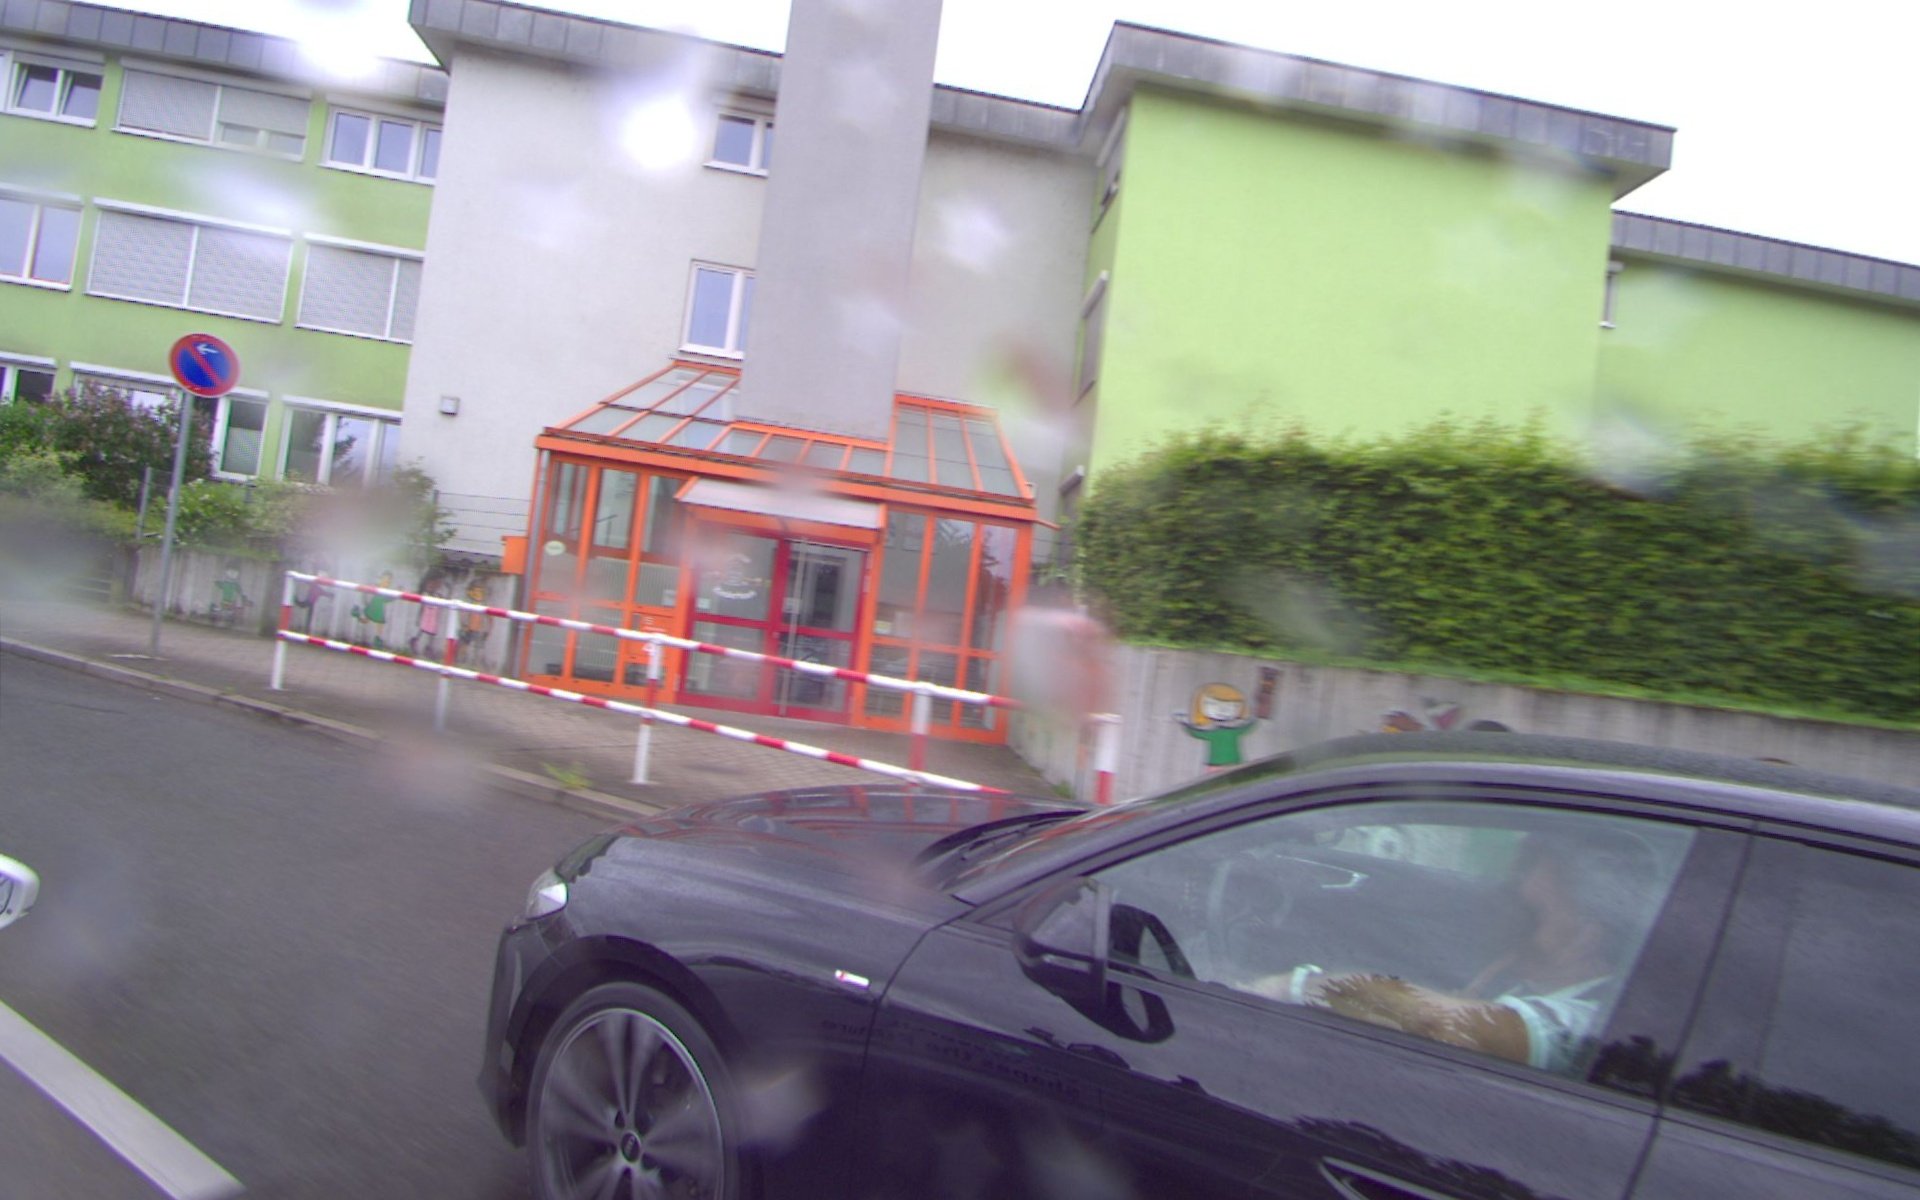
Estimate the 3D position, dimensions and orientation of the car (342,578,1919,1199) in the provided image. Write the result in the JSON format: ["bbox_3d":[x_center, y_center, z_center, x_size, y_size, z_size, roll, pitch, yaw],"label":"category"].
[{"bbox_3d":[0.917,0.922,2.160,4.662,1.441,1.869,5,-2,32],"label":"car"}]
